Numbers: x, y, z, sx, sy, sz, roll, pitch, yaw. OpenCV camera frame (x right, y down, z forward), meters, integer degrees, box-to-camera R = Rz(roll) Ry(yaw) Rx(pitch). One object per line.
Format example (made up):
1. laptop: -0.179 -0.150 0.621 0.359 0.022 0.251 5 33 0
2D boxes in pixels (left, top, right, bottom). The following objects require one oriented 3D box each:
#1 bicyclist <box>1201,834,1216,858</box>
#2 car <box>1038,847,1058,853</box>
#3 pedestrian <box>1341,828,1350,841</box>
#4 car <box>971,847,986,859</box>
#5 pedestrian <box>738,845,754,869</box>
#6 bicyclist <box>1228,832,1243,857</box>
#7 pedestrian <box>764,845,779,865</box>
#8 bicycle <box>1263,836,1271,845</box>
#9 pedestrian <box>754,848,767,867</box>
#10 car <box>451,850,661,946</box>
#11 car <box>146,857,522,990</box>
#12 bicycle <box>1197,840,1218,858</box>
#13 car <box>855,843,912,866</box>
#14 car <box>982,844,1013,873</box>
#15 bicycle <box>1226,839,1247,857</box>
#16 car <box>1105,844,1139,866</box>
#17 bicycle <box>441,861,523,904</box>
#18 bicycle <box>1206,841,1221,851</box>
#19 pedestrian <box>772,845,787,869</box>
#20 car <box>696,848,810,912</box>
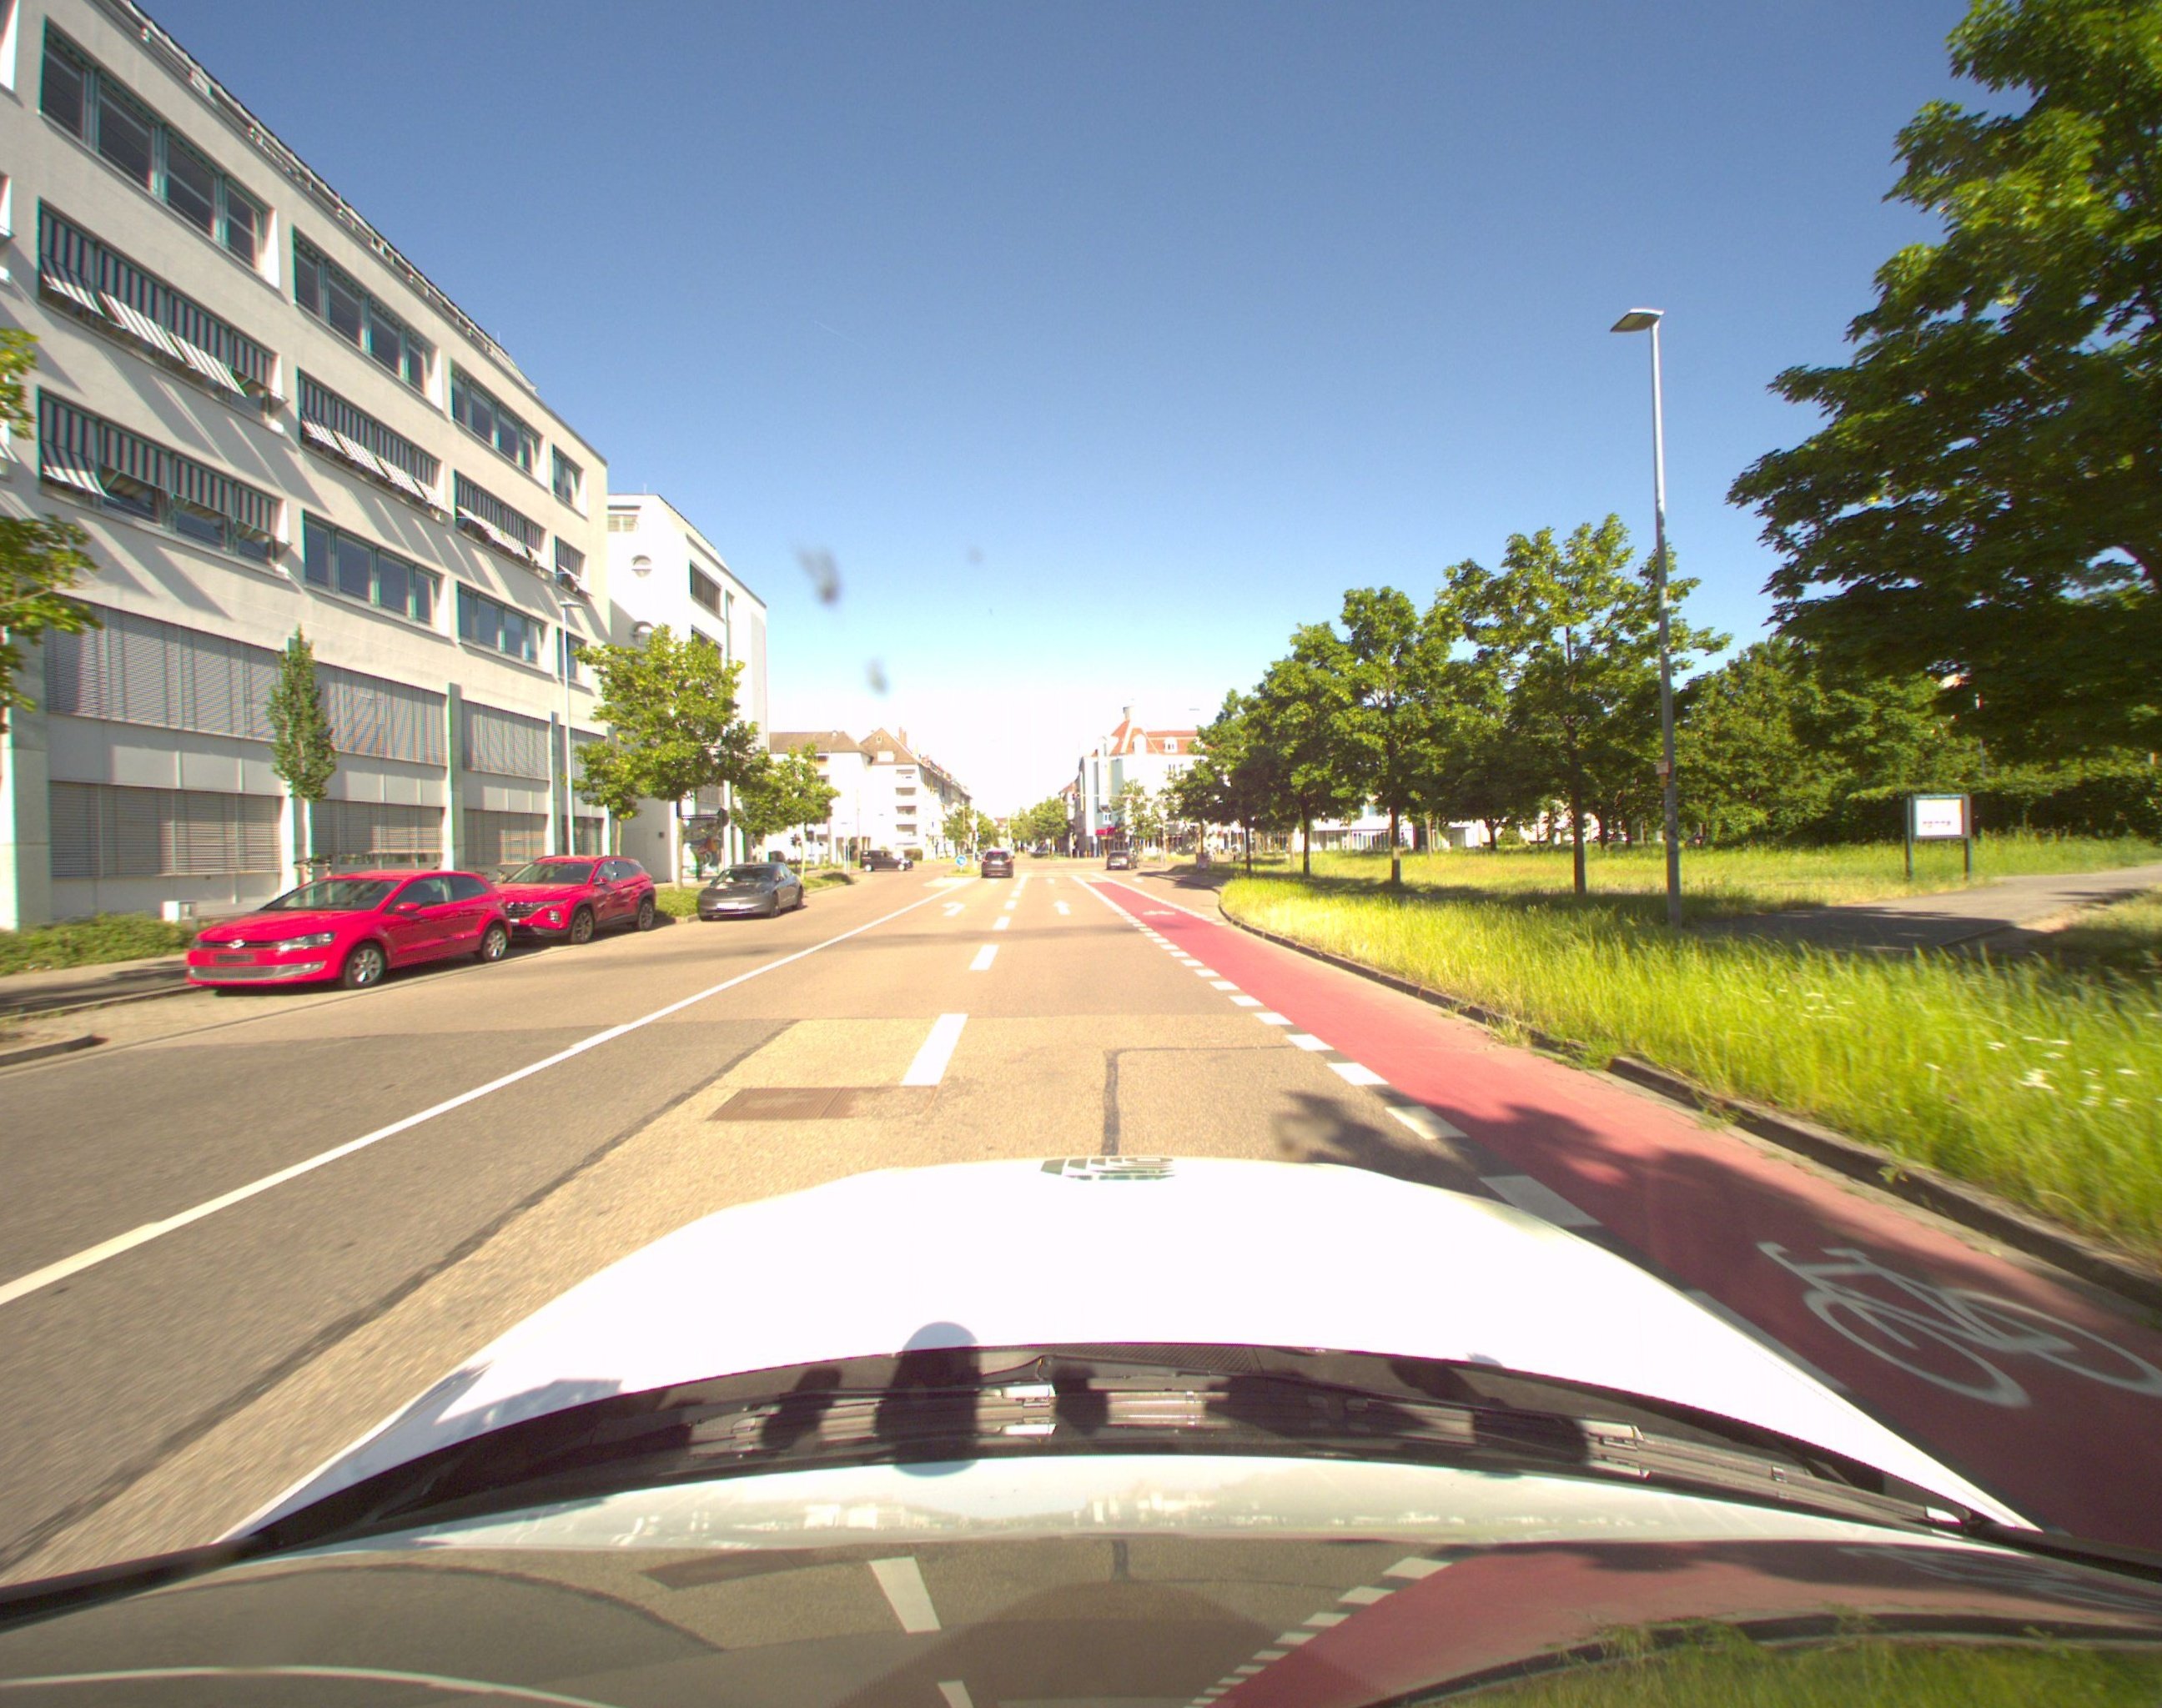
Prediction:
1. bicyclist: 10.190 -0.654 65.061 0.782 1.824 1.143 -1 1 34
2. car: -6.226 -0.758 153.162 3.570 1.223 1.724 -1 0 -12
3. pedestrian: 35.039 -2.619 107.863 0.988 1.723 0.653 -2 1 -5
4. car: -14.646 -0.169 116.689 1.749 1.556 3.728 1 1 -2
5. pedestrian: -25.555 0.228 62.145 0.810 1.726 1.151 -2 1 -9
6. bicyclist: 12.340 -0.780 65.000 0.782 1.959 1.018 -1 1 34
7. pedestrian: -27.828 0.090 73.213 0.920 1.770 1.151 -2 1 -9
8. bicycle: 25.045 -1.765 109.790 0.559 1.182 1.868 -2 1 -2
9. pedestrian: -29.334 0.308 74.463 0.810 1.726 1.151 -2 1 -9
10. car: -10.164 0.757 16.215 1.685 1.607 4.303 1 1 -5
11. car: -9.767 0.804 11.148 1.684 1.432 3.867 1 1 -3
12. bicycle: 10.129 -0.406 64.958 0.782 1.347 2.092 -1 1 34
13. car: -16.677 0.045 68.808 4.478 1.800 1.760 1 0 -7
14. car: -4.946 0.258 48.641 1.751 1.628 4.470 1 1 -5
15. bicycle: 12.437 -0.486 65.114 0.782 1.347 2.277 -1 1 34
16. car: 3.126 0.055 62.014 1.675 1.577 3.888 1 1 17
17. bicycle: -16.397 0.768 22.320 1.780 1.069 0.622 -2 0 4
18. bicycle: 17.566 -1.064 108.190 1.862 1.182 0.560 -2 1 -8
19. pedestrian: -23.106 0.220 62.440 0.810 1.726 1.151 -2 1 -9
20. car: -8.797 0.622 22.273 1.686 1.468 4.537 -2 1 -6
